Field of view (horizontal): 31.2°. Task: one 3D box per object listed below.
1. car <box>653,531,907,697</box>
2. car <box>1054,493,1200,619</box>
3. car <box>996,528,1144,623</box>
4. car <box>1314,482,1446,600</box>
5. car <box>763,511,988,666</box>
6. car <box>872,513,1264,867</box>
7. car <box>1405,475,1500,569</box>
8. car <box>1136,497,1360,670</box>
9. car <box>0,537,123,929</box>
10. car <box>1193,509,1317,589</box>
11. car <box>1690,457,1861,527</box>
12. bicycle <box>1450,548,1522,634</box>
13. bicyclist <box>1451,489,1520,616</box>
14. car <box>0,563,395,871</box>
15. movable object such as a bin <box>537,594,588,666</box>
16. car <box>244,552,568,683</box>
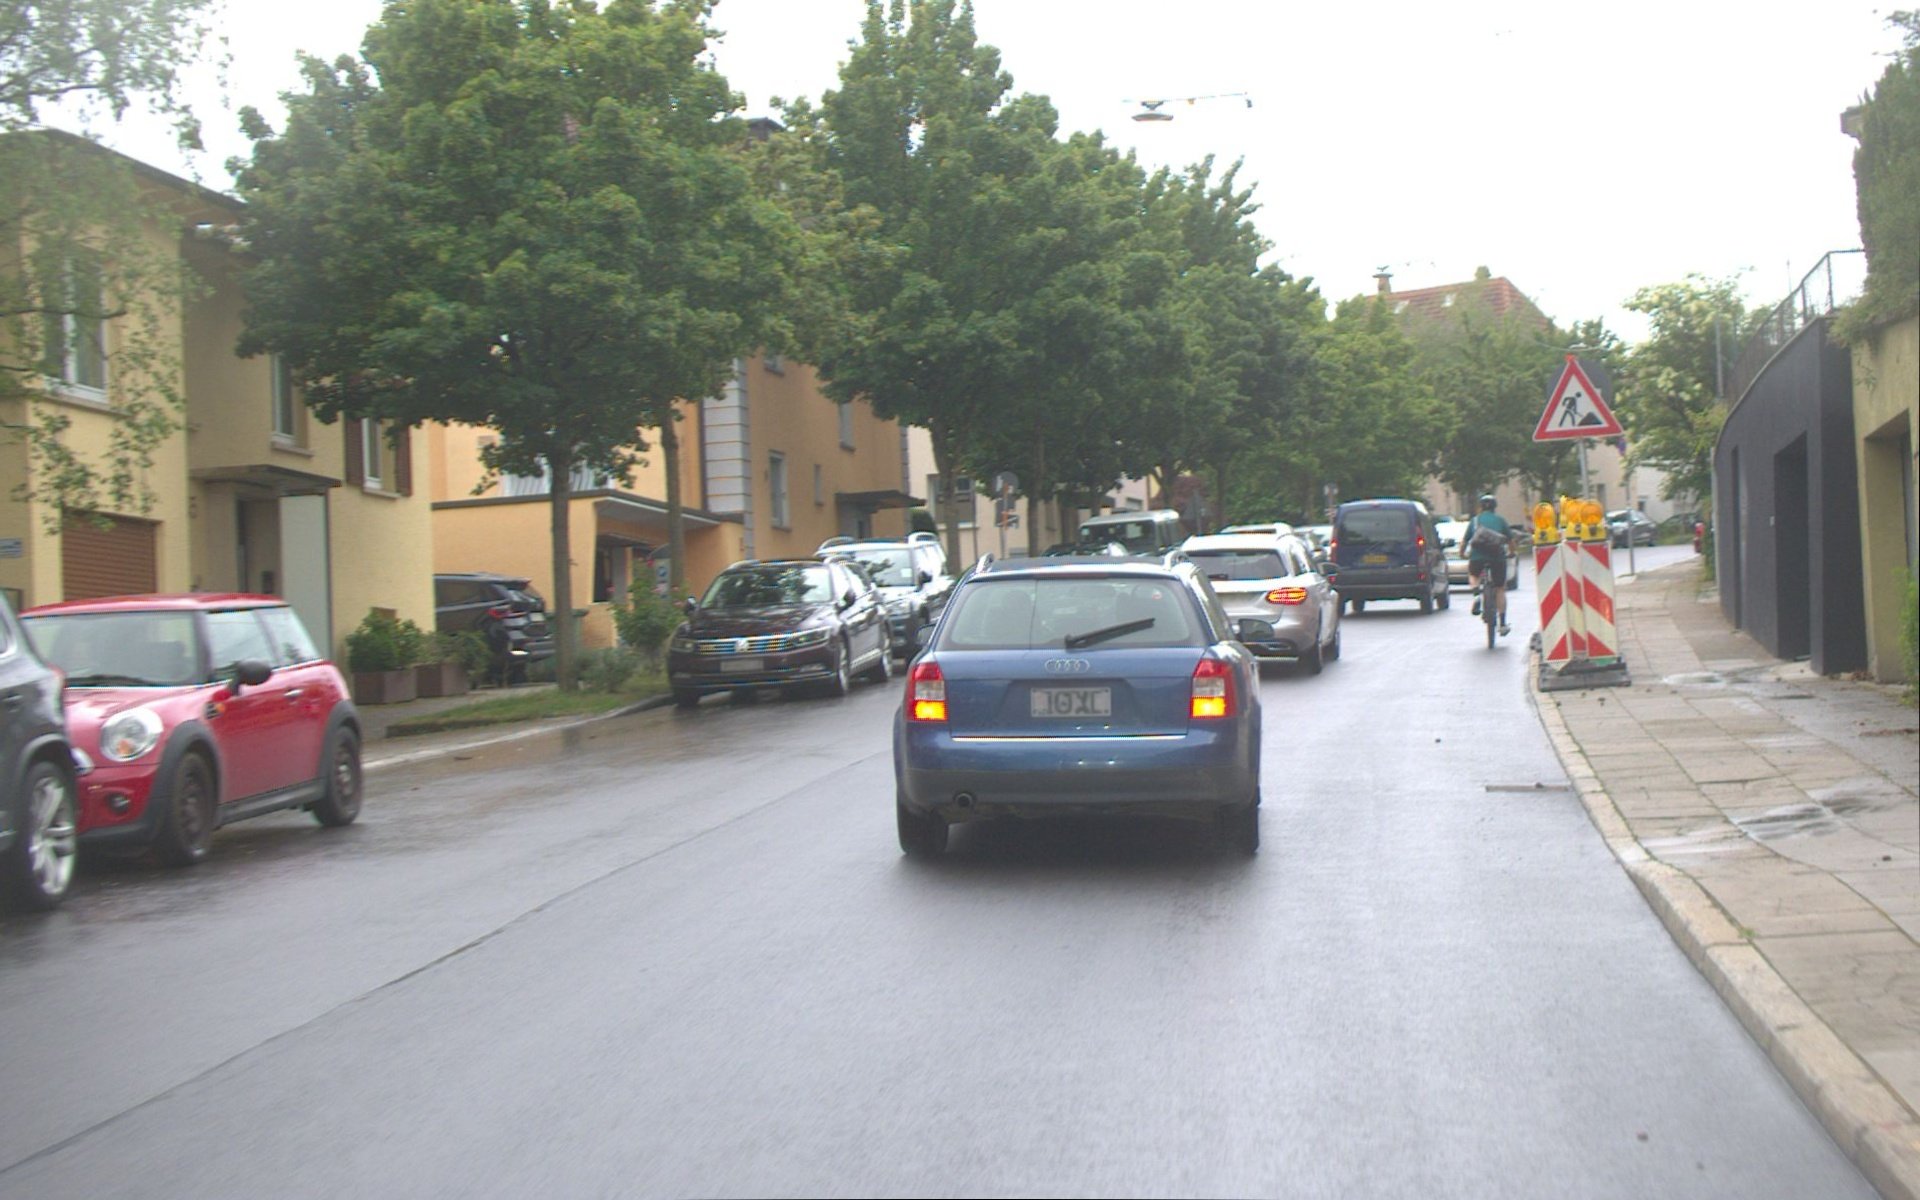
[{"bbox_3d":[-1.866,0.101,37.150,1.769,1.530,4.604,-4,1,8],"label":"car"},{"bbox_3d":[3.163,-0.856,64.125,1.792,2.042,4.780,-6,1,12],"label":"car"},{"bbox_3d":[1.930,-0.444,59.166,1.769,1.431,4.345,-4,1,11],"label":"car"},{"bbox_3d":[6.886,-0.995,56.097,1.734,1.762,4.233,0,3,12],"label":"car"},{"bbox_3d":[-0.982,-0.182,42.616,1.769,1.629,4.108,-6,1,11],"label":"car"},{"bbox_3d":[0.660,0.360,17.421,1.734,1.461,4.000,0,3,5],"label":"car"},{"bbox_3d":[10.018,-1.612,69.788,1.734,1.762,4.234,0,3,10],"label":"car"},{"bbox_3d":[3.141,-0.228,36.776,1.976,1.629,4.234,0,3,10],"label":"car"},{"bbox_3d":[-5.064,0.614,13.968,1.801,1.663,4.425,-3,1,6],"label":"car"},{"bbox_3d":[6.633,-1.158,76.875,1.769,1.621,4.686,-4,0,16],"label":"car"},{"bbox_3d":[20.730,-2.746,87.334,3.990,1.461,1.738,-4,2,19],"label":"car"},{"bbox_3d":[6.269,-0.118,40.939,0.730,0.961,1.670,-1,1,12],"label":"bicycle"},{"bbox_3d":[6.267,-0.571,40.970,0.725,1.467,0.886,-2,1,12],"label":"bicyclist"},{"bbox_3d":[-4.536,0.581,18.974,1.682,1.466,3.864,-3,1,8],"label":"car"},{"bbox_3d":[-5.831,0.438,50.475,0.587,1.020,0.586,-1,1,9],"label":"movable object such as a bin"},{"bbox_3d":[-7.775,0.235,48.408,4.055,1.640,1.863,-2,0,11],"label":"car"}]
